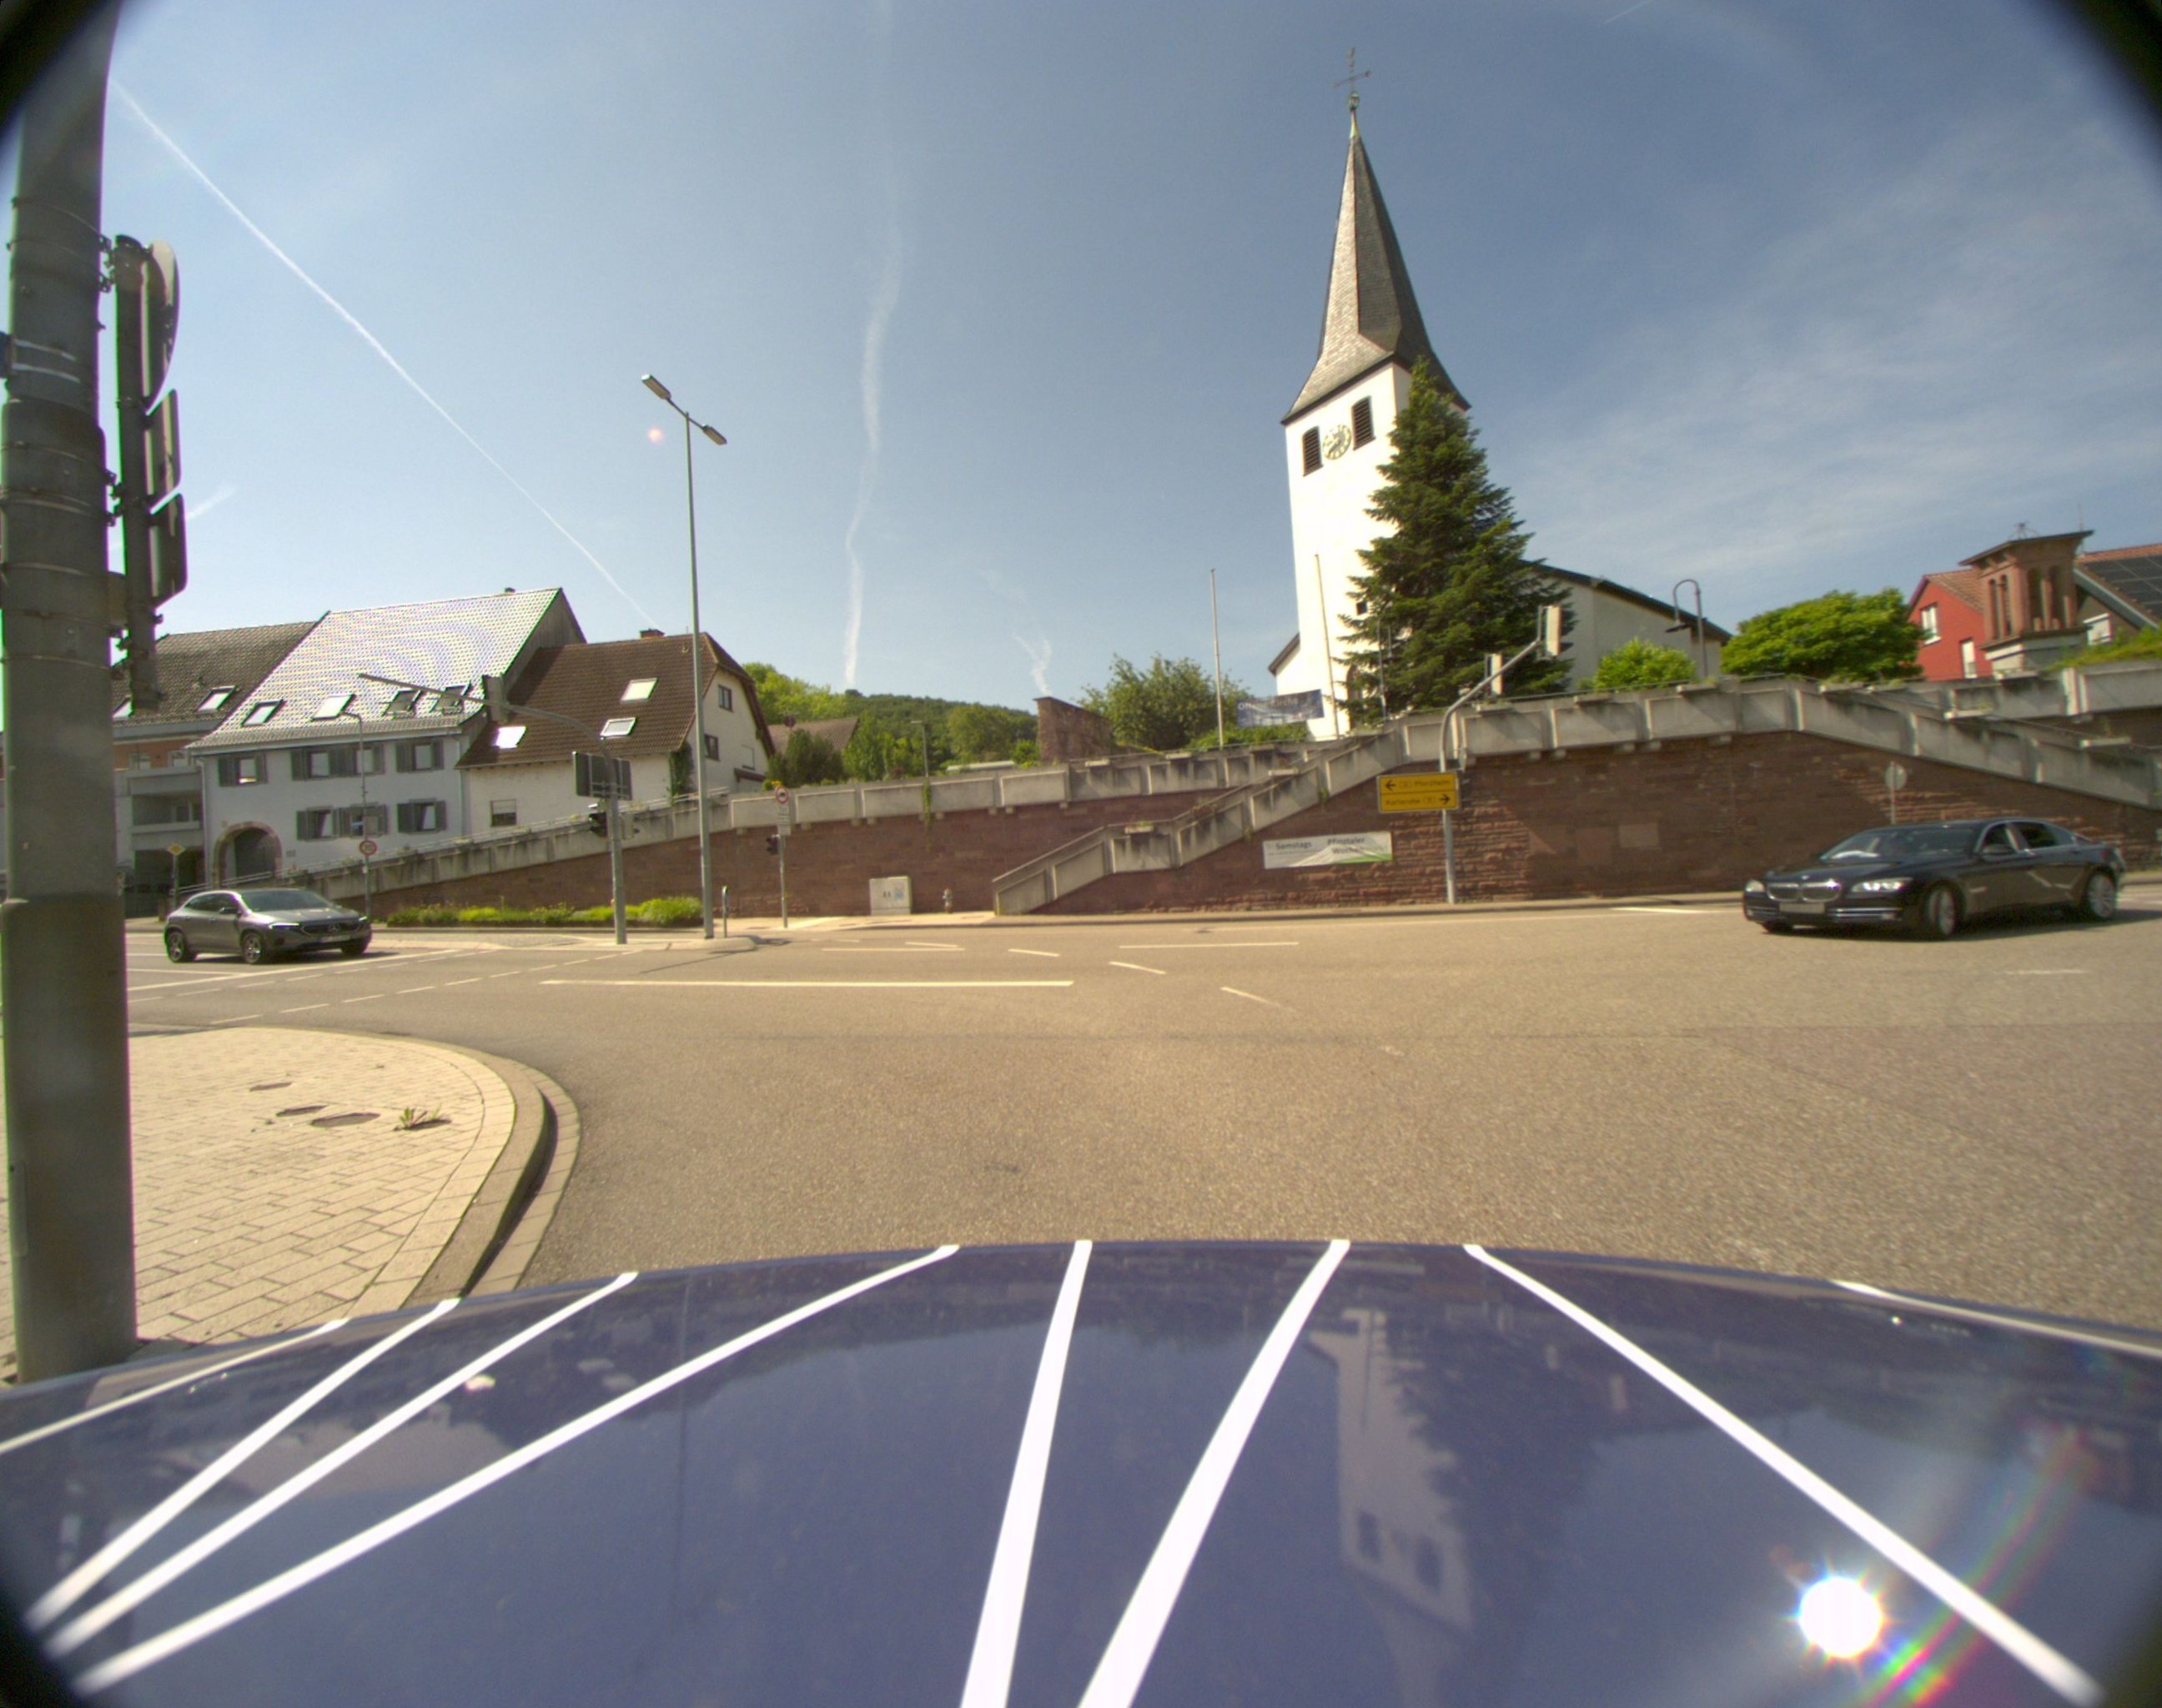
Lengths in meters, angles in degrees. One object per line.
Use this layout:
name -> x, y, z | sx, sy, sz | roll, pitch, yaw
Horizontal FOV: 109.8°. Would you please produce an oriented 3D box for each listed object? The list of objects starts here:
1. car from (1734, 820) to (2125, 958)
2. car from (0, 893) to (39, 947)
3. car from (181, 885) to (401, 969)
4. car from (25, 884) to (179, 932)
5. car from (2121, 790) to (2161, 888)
car -> 11.453, 0.406, 10.321 | 4.250, 1.426, 1.824 | -3, -1, -16
car -> -35.845, 2.184, 24.200 | 4.384, 1.642, 1.796 | -3, 0, 18
car -> -17.556, 1.585, 16.896 | 4.281, 1.564, 1.741 | -2, 1, 20
car -> -43.406, 2.376, 33.725 | 5.278, 1.788, 1.812 | -3, 0, 9
car -> 23.963, -0.473, 14.162 | 5.269, 1.955, 2.146 | -4, -1, 11
